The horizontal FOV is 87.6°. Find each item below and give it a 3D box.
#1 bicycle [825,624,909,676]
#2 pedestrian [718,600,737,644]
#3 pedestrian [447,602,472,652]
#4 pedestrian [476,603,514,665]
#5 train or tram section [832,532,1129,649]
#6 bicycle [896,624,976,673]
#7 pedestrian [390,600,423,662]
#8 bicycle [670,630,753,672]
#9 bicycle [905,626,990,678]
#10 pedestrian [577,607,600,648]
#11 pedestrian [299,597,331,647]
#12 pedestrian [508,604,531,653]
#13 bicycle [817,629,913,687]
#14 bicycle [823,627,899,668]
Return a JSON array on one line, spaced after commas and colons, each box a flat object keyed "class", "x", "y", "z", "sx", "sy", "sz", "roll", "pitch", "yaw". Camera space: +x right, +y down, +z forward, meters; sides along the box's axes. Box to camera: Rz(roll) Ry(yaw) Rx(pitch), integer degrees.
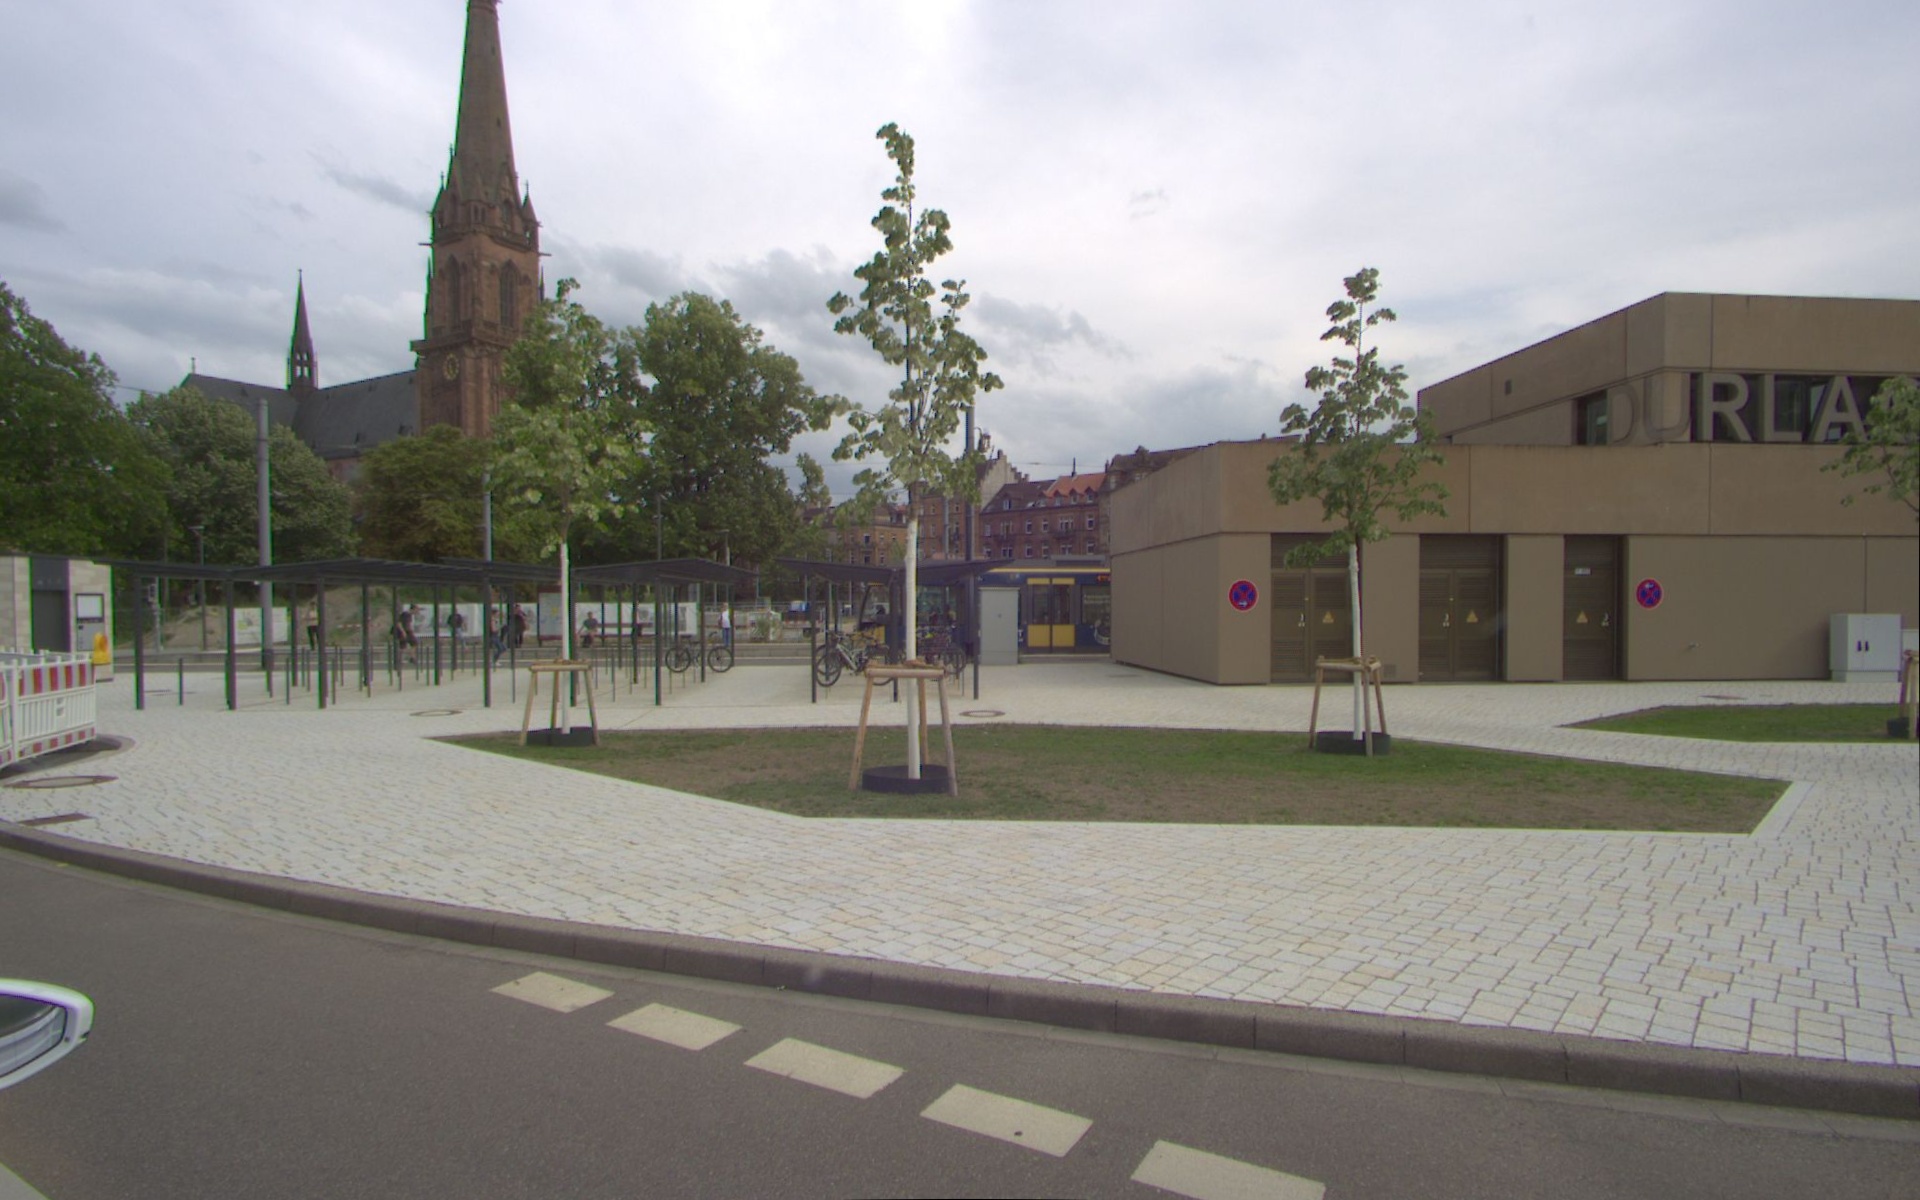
[{"class": "bicycle", "x": -2.233, "y": 1.190, "z": 24.019, "sx": 1.931, "sy": 1.172, "sz": 0.583, "roll": 2, "pitch": 1, "yaw": -13}, {"class": "pedestrian", "x": -9.161, "y": 0.874, "z": 39.459, "sx": 0.665, "sy": 1.701, "sz": 0.709, "roll": 2, "pitch": 1, "yaw": -11}, {"class": "pedestrian", "x": -18.733, "y": 1.017, "z": 37.496, "sx": 0.665, "sy": 1.825, "sz": 0.522, "roll": 2, "pitch": 2, "yaw": -11}, {"class": "pedestrian", "x": -12.713, "y": 0.923, "z": 27.396, "sx": 0.782, "sy": 1.625, "sz": 0.538, "roll": 2, "pitch": 1, "yaw": -5}, {"class": "train or tram section", "x": 0.573, "y": -0.287, "z": 32.679, "sx": 9.189, "sy": 3.321, "sz": 3.061, "roll": 2, "pitch": 1, "yaw": -4}, {"class": "bicycle", "x": -0.609, "y": 1.230, "z": 25.506, "sx": 1.931, "sy": 1.172, "sz": 0.583, "roll": 2, "pitch": 1, "yaw": -13}, {"class": "pedestrian", "x": -15.323, "y": 0.859, "z": 27.736, "sx": 0.618, "sy": 1.677, "sz": 0.531, "roll": 2, "pitch": 1, "yaw": -5}, {"class": "bicycle", "x": -6.144, "y": 1.258, "z": 24.810, "sx": 1.929, "sy": 0.968, "sz": 0.583, "roll": 2, "pitch": 1, "yaw": -7}, {"class": "bicycle", "x": -0.306, "y": 1.256, "z": 24.084, "sx": 1.931, "sy": 1.172, "sz": 0.583, "roll": 2, "pitch": 1, "yaw": -13}, {"class": "pedestrian", "x": -14.102, "y": 1.029, "z": 38.040, "sx": 0.665, "sy": 1.505, "sz": 0.689, "roll": 2, "pitch": 1, "yaw": -11}, {"class": "pedestrian", "x": -24.021, "y": 0.824, "z": 37.282, "sx": 0.743, "sy": 1.825, "sz": 0.817, "roll": 3, "pitch": 2, "yaw": 42}, {"class": "pedestrian", "x": -16.585, "y": 1.078, "z": 37.686, "sx": 0.665, "sy": 1.825, "sz": 0.522, "roll": 2, "pitch": 2, "yaw": -11}, {"class": "bicycle", "x": -2.018, "y": 1.227, "z": 21.242, "sx": 1.931, "sy": 1.172, "sz": 0.583, "roll": 2, "pitch": 1, "yaw": -13}, {"class": "bicycle", "x": -2.604, "y": 1.247, "z": 26.306, "sx": 1.929, "sy": 0.983, "sz": 0.583, "roll": 2, "pitch": 1, "yaw": -7}]
